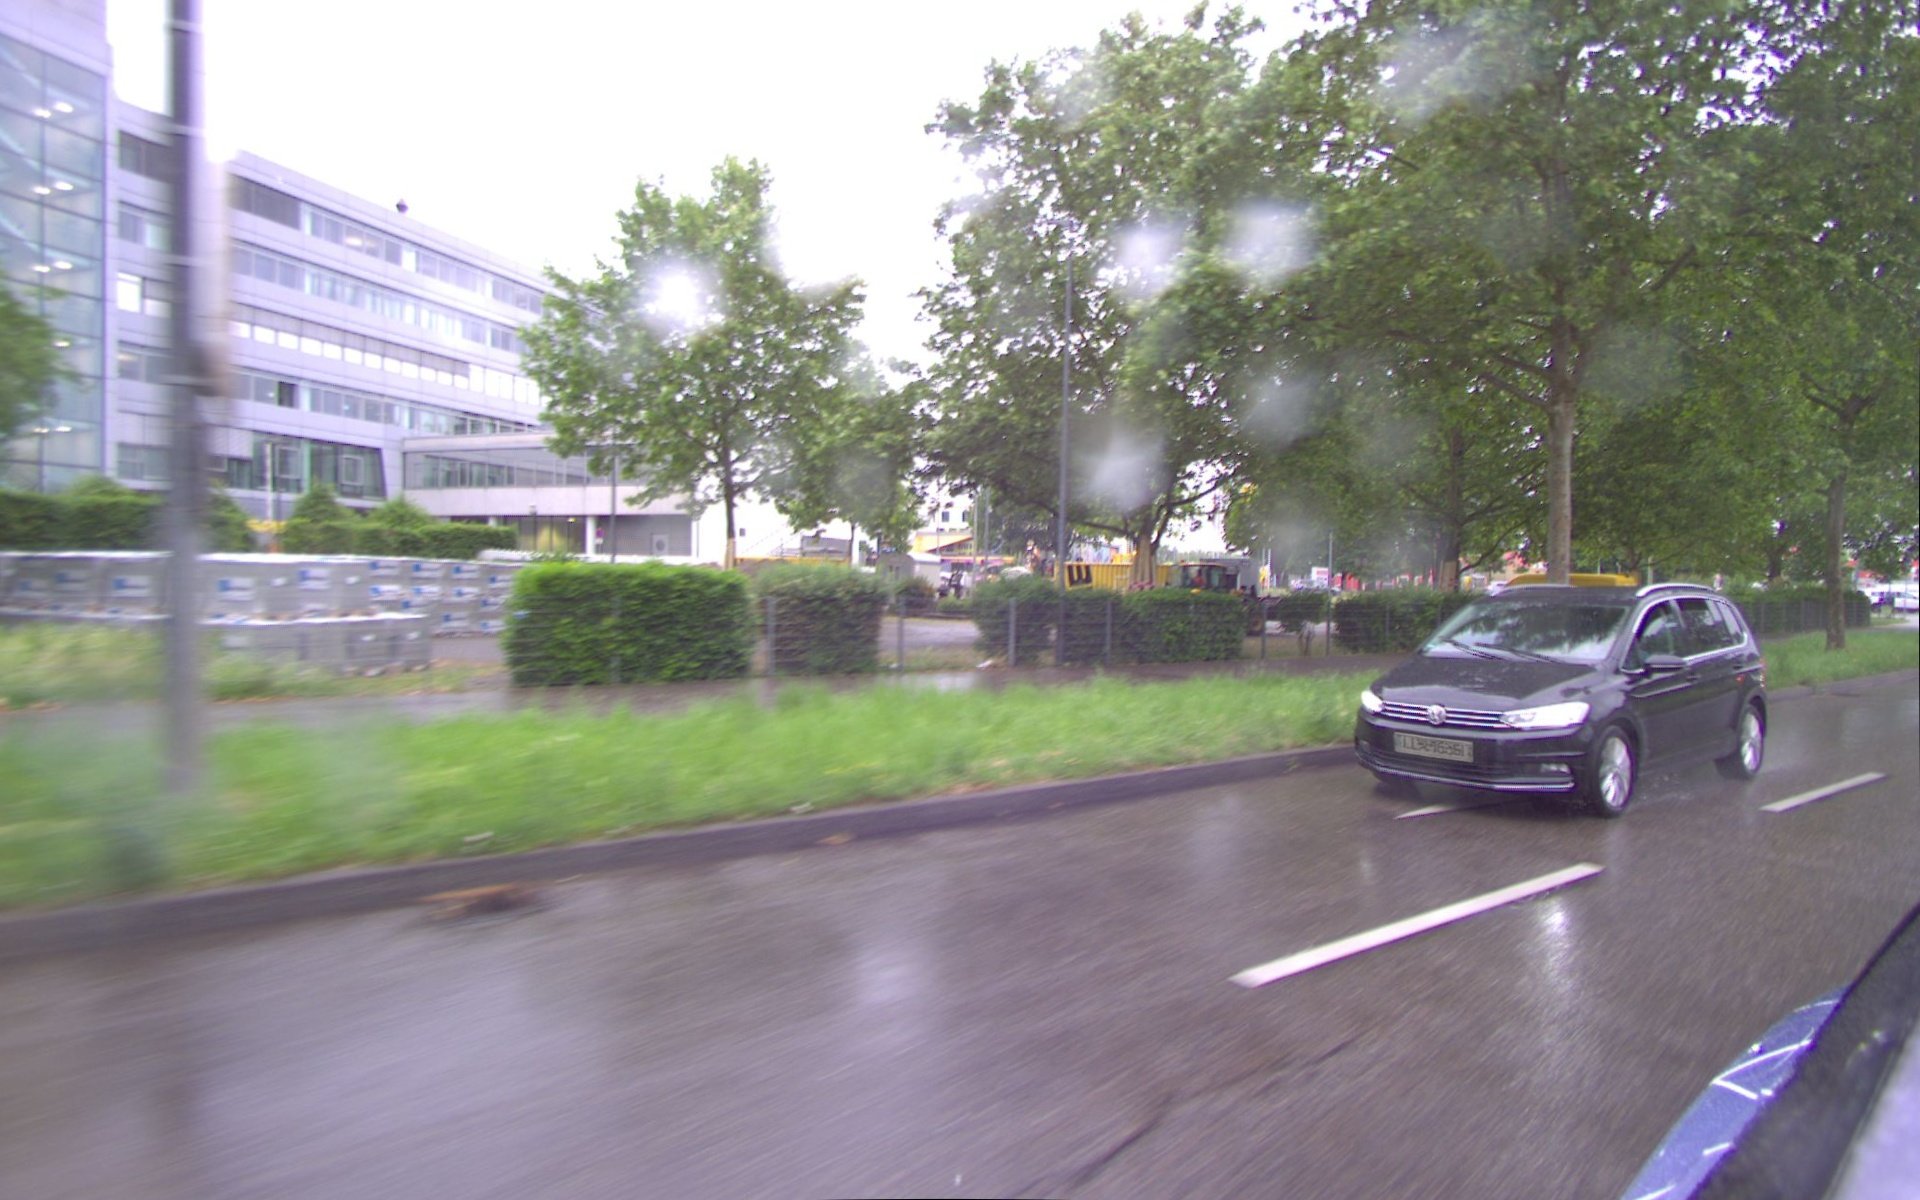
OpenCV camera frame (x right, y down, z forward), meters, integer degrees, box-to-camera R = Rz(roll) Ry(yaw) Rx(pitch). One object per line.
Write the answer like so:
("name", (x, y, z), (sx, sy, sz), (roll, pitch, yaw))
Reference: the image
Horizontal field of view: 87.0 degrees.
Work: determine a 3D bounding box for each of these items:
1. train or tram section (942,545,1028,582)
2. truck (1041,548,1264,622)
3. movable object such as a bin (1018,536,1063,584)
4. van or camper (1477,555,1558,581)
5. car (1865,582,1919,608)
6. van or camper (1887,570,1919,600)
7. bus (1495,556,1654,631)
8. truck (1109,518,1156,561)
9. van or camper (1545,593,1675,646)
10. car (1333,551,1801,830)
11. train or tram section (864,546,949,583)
("train or tram section", (2.523, -3.625, 100.894), (8.256, 3.563, 2.388), (0, 1, 17))
("truck", (8.521, -0.632, 44.947), (9.381, 3.069, 3.062), (0, 1, 20))
("movable object such as a bin", (6.415, -3.185, 81.009), (3.257, 3.670, 3.614), (1, 2, 0))
("van or camper", (72.829, -4.137, 132.456), (8.866, 3.196, 2.969), (0, 1, 20))
("car", (66.398, -0.350, 70.620), (4.401, 1.693, 1.859), (2, 2, 17))
("van or camper", (70.226, -1.014, 72.736), (4.841, 2.114, 1.859), (2, 2, 17))
("bus", (23.385, -0.272, 38.719), (1.961, 2.680, 4.810), (0, 1, -33))
("truck", (15.015, -5.156, 87.451), (2.465, 3.387, 9.412), (0, 1, 19))
("van or camper", (25.606, 0.716, 39.960), (1.769, 1.931, 3.996), (0, 1, -39))
("car", (5.097, 0.543, 8.321), (4.112, 1.748, 1.862), (0, 1, -36))
("train or tram section", (-5.455, -3.603, 103.404), (8.414, 3.563, 2.388), (0, 1, 17))
